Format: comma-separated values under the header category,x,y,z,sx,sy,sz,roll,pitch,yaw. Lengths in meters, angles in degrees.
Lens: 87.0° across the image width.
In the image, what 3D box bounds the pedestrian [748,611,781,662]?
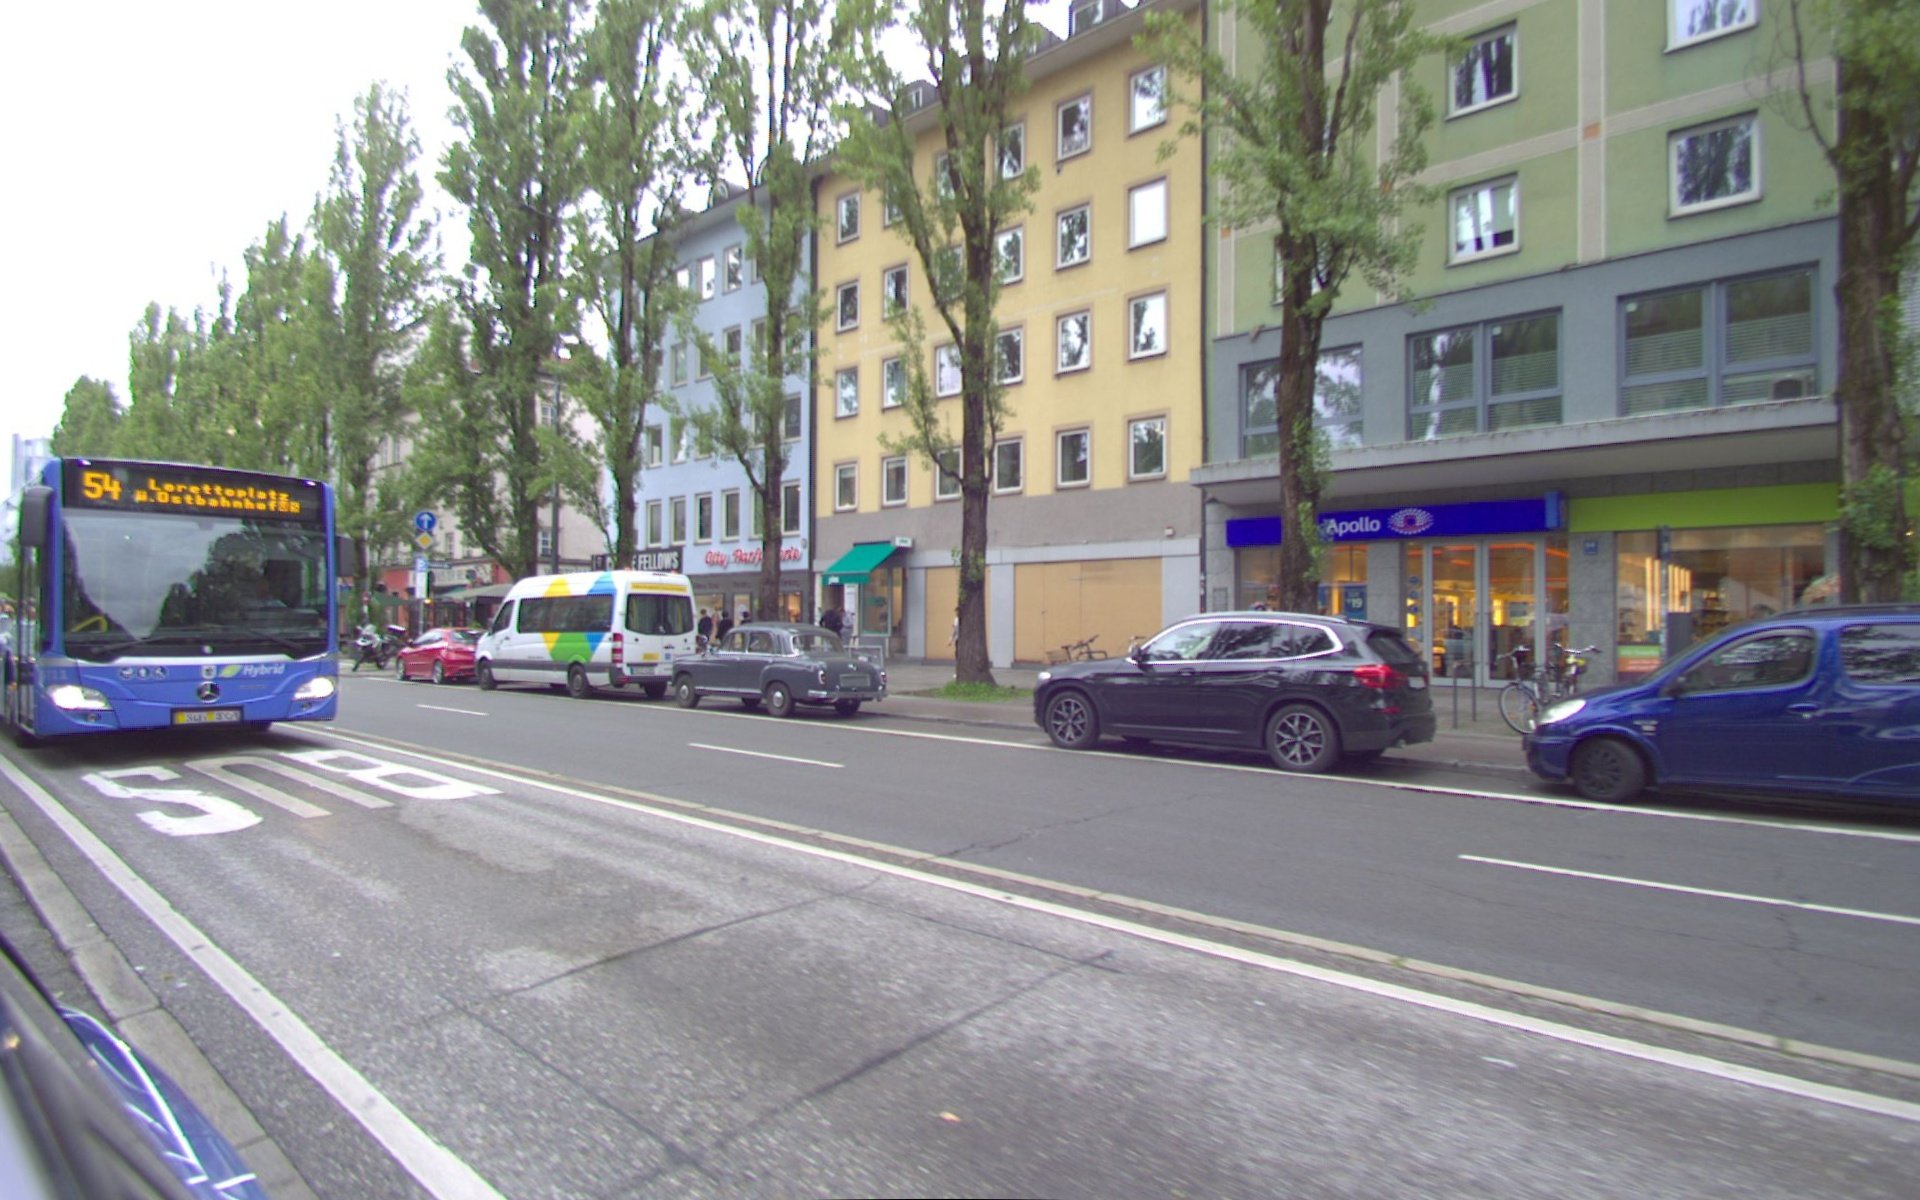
category,x,y,z,sx,sy,sz,roll,pitch,yaw
pedestrian,-5.669,1.054,29.316,0.550,1.449,0.759,-1,-2,37

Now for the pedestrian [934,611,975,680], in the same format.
category,x,y,z,sx,sy,sz,roll,pitch,yaw
pedestrian,-0.132,1.100,24.826,0.711,1.663,0.714,-2,-2,42

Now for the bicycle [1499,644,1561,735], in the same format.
category,x,y,z,sx,sy,sz,roll,pitch,yaw
bicycle,7.685,1.170,13.612,0.361,1.124,1.658,-2,-2,42

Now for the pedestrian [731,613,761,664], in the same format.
category,x,y,z,sx,sy,sz,roll,pitch,yaw
pedestrian,-7.192,1.284,34.006,0.706,1.663,0.714,-2,-2,42

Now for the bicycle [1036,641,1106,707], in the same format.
category,x,y,z,sx,sy,sz,roll,pitch,yaw
bicycle,2.025,1.317,18.331,0.358,1.124,1.658,-2,-2,42

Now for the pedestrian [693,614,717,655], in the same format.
category,x,y,z,sx,sy,sz,roll,pitch,yaw
pedestrian,-9.043,1.224,35.906,0.550,1.449,0.602,-1,-2,37

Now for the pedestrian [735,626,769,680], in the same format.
category,x,y,z,sx,sy,sz,roll,pitch,yaw
pedestrian,-5.669,1.423,27.566,0.677,1.449,0.602,-1,-2,37

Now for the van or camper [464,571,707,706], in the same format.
category,x,y,z,sx,sy,sz,roll,pitch,yaw
van or camper,-8.379,0.847,22.211,6.642,2.570,2.103,-1,-4,42

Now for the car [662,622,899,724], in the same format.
category,x,y,z,sx,sy,sz,roll,pitch,yaw
car,-3.190,1.183,17.524,4.257,1.541,1.686,-1,-3,40

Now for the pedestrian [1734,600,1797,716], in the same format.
category,x,y,z,sx,sy,sz,roll,pitch,yaw
pedestrian,12.734,0.899,15.998,0.715,1.768,0.714,-2,-2,42

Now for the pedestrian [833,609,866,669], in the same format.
category,x,y,z,sx,sy,sz,roll,pitch,yaw
pedestrian,-3.215,1.129,29.450,0.723,1.717,0.632,-2,-2,41

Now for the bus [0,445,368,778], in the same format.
category,x,y,z,sx,sy,sz,roll,pitch,yaw
bus,-12.111,0.237,14.248,12.854,2.925,2.769,-1,-2,42

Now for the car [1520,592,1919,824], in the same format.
category,x,y,z,sx,sy,sz,roll,pitch,yaw
car,6.982,0.841,8.516,3.768,1.699,1.601,-1,-4,39

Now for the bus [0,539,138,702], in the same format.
category,x,y,z,sx,sy,sz,roll,pitch,yaw
bus,-21.630,0.493,22.879,12.854,2.925,2.769,-1,-2,42

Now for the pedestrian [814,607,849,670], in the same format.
category,x,y,z,sx,sy,sz,roll,pitch,yaw
pedestrian,-3.667,1.094,28.883,0.723,1.779,0.723,-2,-2,40

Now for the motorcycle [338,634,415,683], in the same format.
category,x,y,z,sx,sy,sz,roll,pitch,yaw
motorcycle,-17.901,1.767,31.095,0.569,1.432,2.000,-1,-2,34

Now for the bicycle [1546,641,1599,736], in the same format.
category,x,y,z,sx,sy,sz,roll,pitch,yaw
bicycle,8.035,1.128,13.262,0.286,1.159,1.635,-2,-2,42

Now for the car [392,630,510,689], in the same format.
category,x,y,z,sx,sy,sz,roll,pitch,yaw
car,-13.450,1.521,26.656,3.761,1.422,1.538,-1,-2,43

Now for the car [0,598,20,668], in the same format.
category,x,y,z,sx,sy,sz,roll,pitch,yaw
car,-33.177,1.109,33.940,4.409,2.265,1.998,-1,-1,41

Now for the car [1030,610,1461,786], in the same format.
category,x,y,z,sx,sy,sz,roll,pitch,yaw
car,3.107,0.970,11.635,4.502,1.645,1.685,-1,-3,42

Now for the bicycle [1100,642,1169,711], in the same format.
category,x,y,z,sx,sy,sz,roll,pitch,yaw
bicycle,3.050,1.304,17.615,0.358,1.124,1.658,-2,-2,42

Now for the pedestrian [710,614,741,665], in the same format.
category,x,y,z,sx,sy,sz,roll,pitch,yaw
pedestrian,-7.703,1.290,33.272,0.677,1.663,0.714,-2,-2,42
